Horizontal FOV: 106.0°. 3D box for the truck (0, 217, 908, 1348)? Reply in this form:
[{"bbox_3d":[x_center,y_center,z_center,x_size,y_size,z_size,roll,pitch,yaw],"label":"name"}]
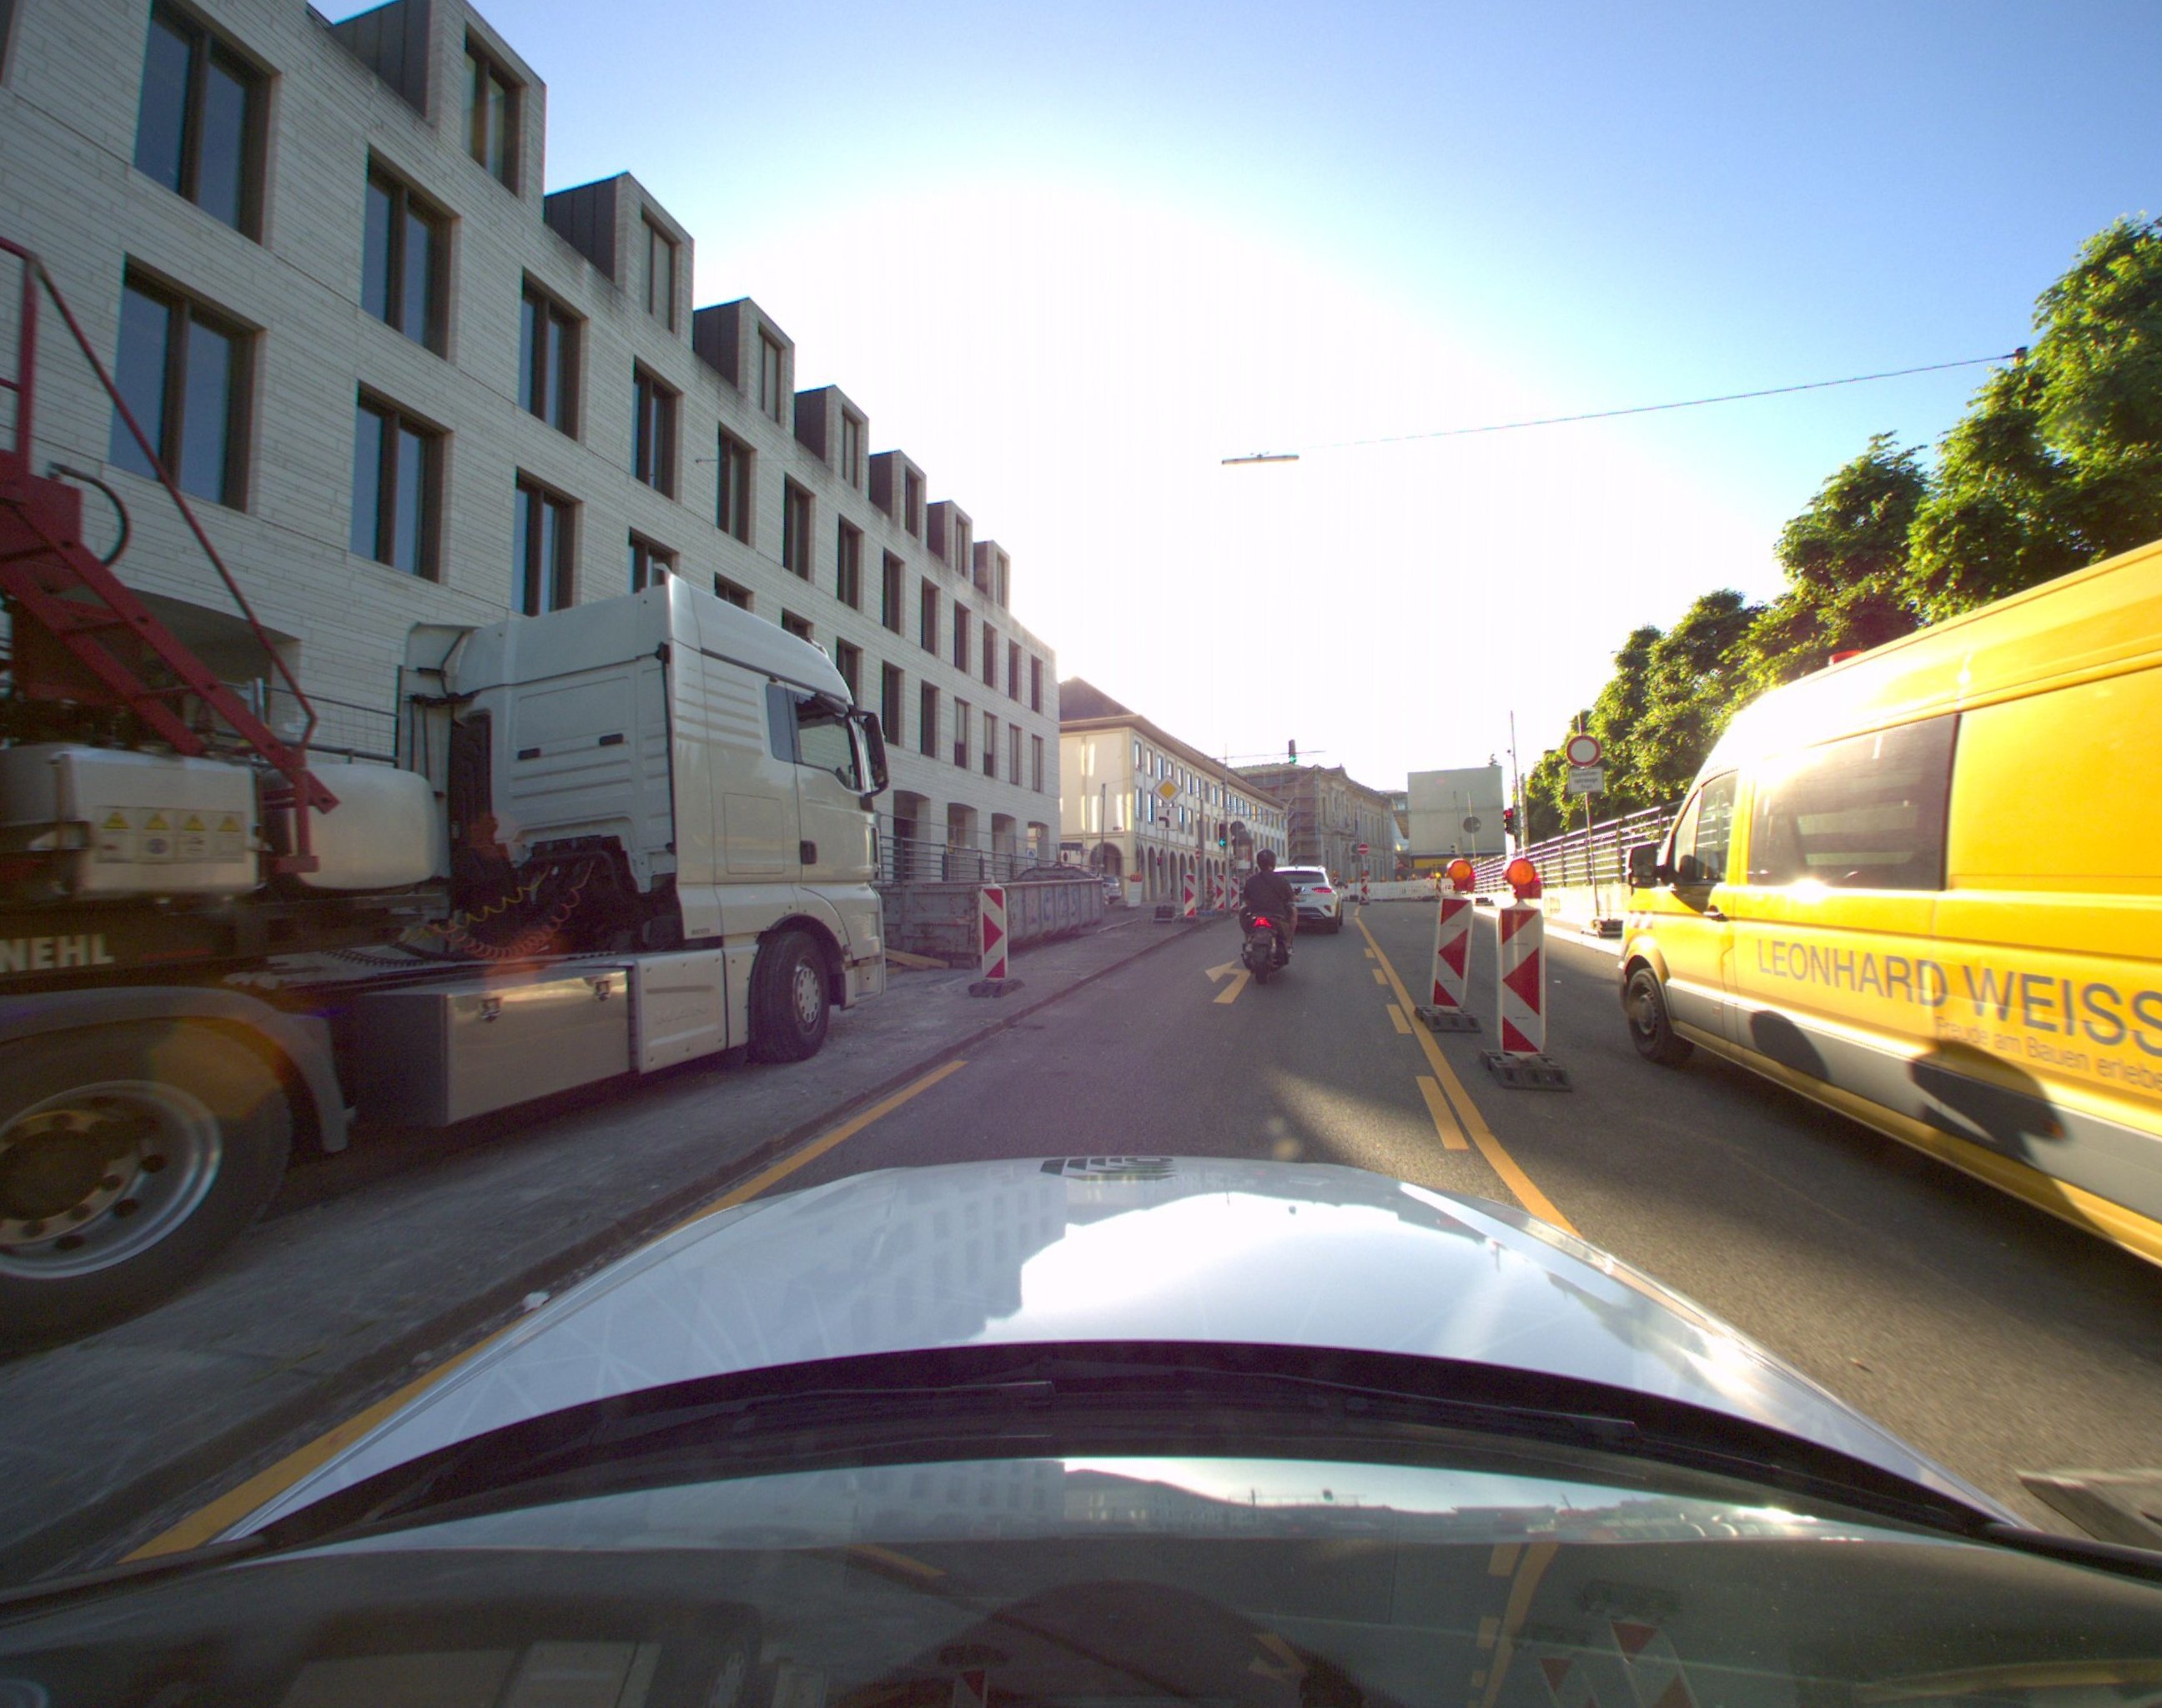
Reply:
[{"bbox_3d":[-3.823,-0.162,5.155,2.559,3.489,5.841,-6,-2,17],"label":"truck"}]

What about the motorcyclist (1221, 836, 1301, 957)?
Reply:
[{"bbox_3d":[2.494,0.565,11.161,0.946,1.560,1.244,-2,-2,16],"label":"motorcyclist"}]

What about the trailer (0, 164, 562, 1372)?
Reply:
[{"bbox_3d":[-5.172,-0.235,0.253,2.623,3.669,8.782,-6,-2,15],"label":"trailer"}]

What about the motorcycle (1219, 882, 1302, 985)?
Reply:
[{"bbox_3d":[2.520,1.014,11.172,0.899,1.183,2.589,-2,-1,16],"label":"motorcycle"}]

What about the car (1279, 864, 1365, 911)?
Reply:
[{"bbox_3d":[8.715,1.232,29.810,1.770,1.550,4.101,-1,-3,-3],"label":"car"}]

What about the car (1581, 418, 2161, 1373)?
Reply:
[{"bbox_3d":[4.466,0.121,3.565,2.095,2.625,7.017,-2,-1,17],"label":"car"}]

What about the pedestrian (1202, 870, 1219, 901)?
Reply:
[{"bbox_3d":[7.726,1.854,48.642,0.766,1.802,0.715,-2,-1,21],"label":"pedestrian"}]

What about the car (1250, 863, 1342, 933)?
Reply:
[{"bbox_3d":[5.143,0.950,19.117,1.844,1.472,4.018,0,-1,18],"label":"car"}]

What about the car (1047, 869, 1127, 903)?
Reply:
[{"bbox_3d":[0.302,1.730,44.710,4.109,1.721,1.821,-2,-1,38],"label":"car"}]

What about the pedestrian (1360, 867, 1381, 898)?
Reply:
[{"bbox_3d":[16.562,1.633,46.594,0.966,1.729,0.802,-4,-5,21],"label":"pedestrian"}]

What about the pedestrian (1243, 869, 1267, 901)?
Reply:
[{"bbox_3d":[10.189,1.816,47.639,1.232,1.802,0.720,-2,-1,21],"label":"pedestrian"}]

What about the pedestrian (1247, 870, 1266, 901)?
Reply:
[{"bbox_3d":[10.422,1.863,48.337,0.930,1.778,0.715,-2,-1,21],"label":"pedestrian"}]

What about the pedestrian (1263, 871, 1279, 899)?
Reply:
[{"bbox_3d":[11.633,1.907,49.947,0.730,1.716,0.625,-4,-4,24],"label":"pedestrian"}]
